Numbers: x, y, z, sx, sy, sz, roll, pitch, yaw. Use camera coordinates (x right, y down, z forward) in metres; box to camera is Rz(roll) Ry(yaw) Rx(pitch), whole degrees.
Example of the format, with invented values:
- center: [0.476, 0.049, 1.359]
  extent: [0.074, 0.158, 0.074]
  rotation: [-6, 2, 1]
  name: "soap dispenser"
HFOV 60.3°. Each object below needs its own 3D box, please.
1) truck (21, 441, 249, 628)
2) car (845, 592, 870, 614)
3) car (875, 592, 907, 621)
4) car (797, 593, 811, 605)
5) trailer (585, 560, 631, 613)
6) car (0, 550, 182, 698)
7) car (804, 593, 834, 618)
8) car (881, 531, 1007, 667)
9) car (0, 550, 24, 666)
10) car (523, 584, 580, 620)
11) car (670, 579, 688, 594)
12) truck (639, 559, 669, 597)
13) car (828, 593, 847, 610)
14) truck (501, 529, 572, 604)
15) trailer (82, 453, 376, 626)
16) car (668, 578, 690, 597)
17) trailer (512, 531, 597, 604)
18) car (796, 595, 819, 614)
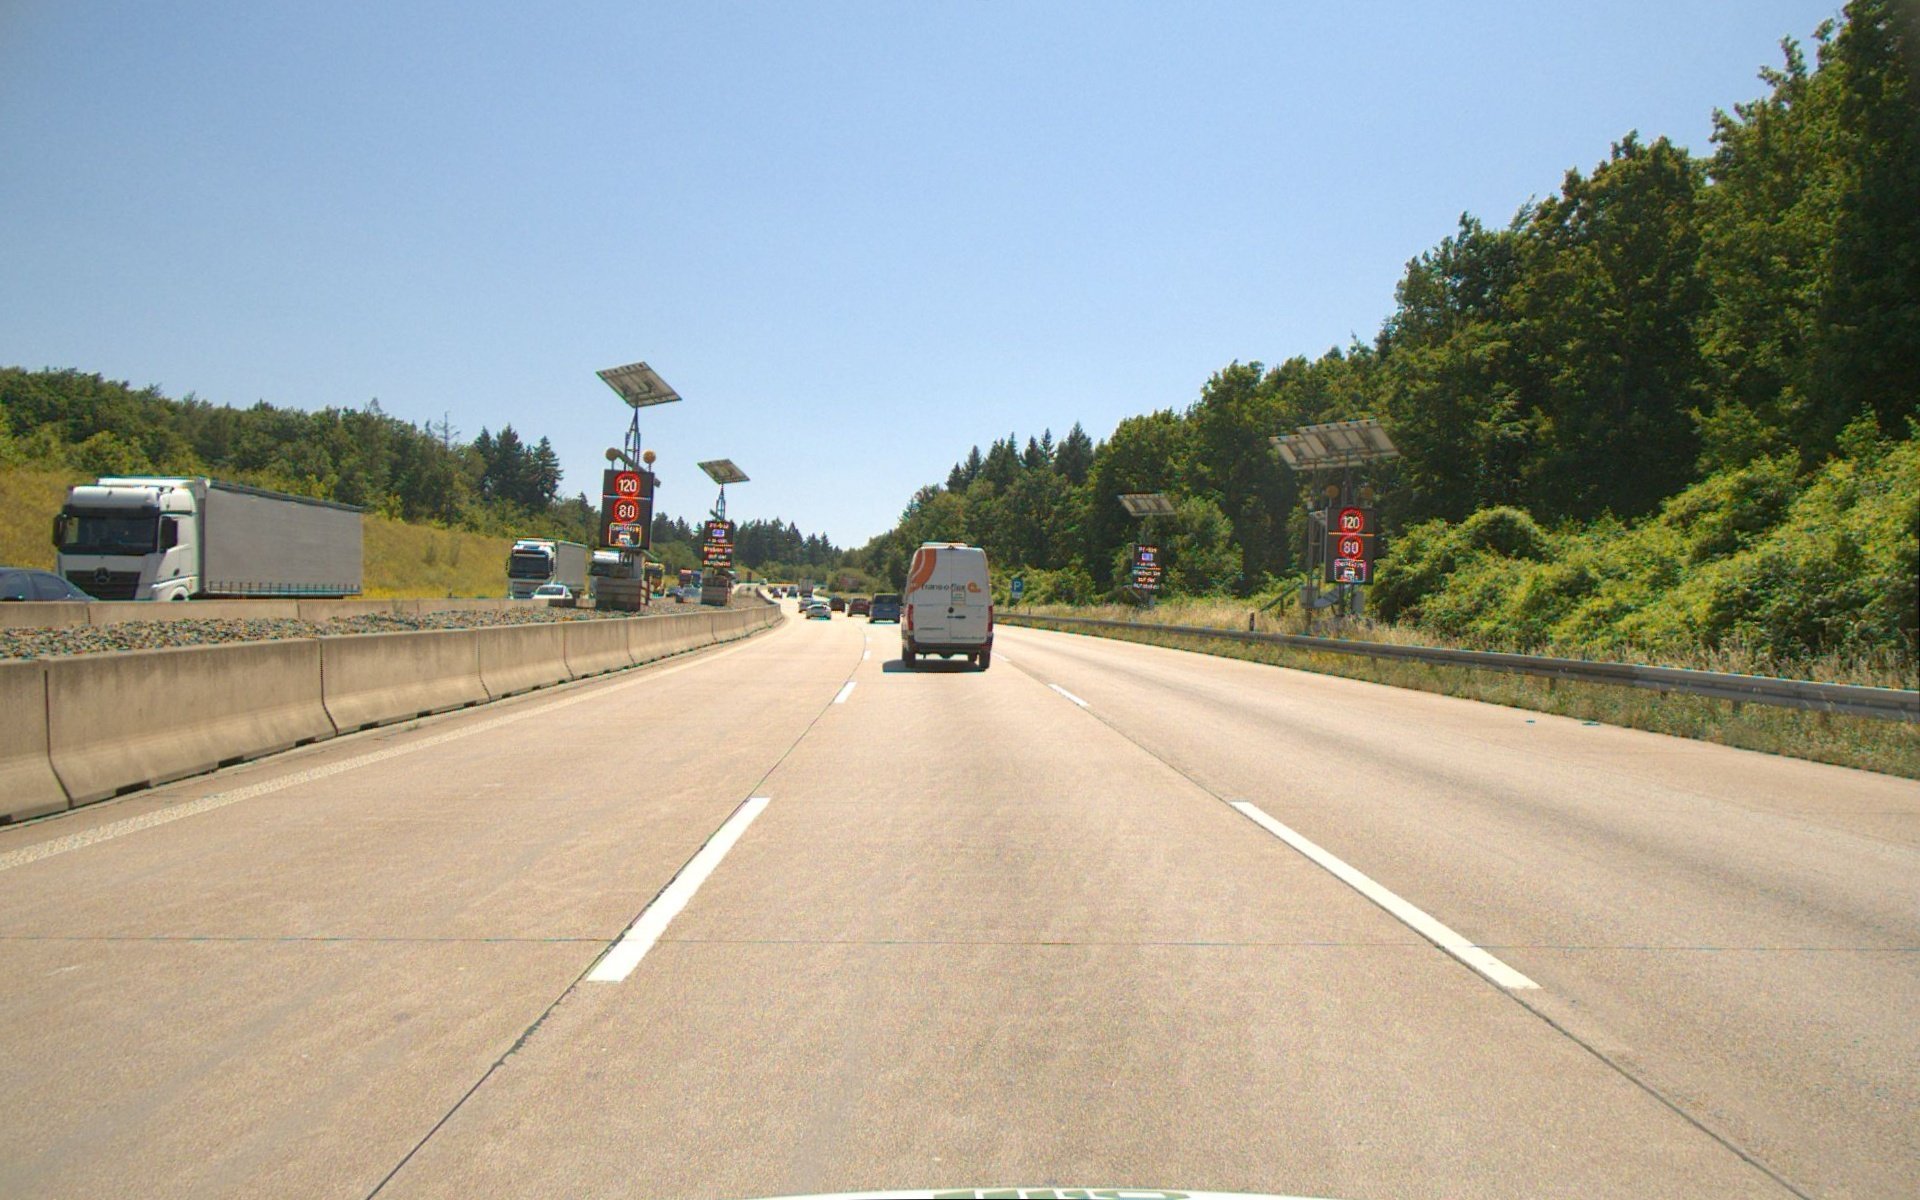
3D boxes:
- center: [-20.633, -1.528, 41.770]
  extent: [2.875, 4.241, 5.756]
  rotation: [3, 0, -3]
  name: "truck"
- center: [-8.772, 0.247, 141.592]
  extent: [1.954, 1.713, 3.997]
  rotation: [3, 0, -4]
  name: "car"
- center: [-4.506, 0.434, 107.367]
  extent: [1.954, 1.713, 3.997]
  rotation: [3, 0, -4]
  name: "car"
- center: [-24.378, -0.145, 257.772]
  extent: [1.954, 1.713, 3.997]
  rotation: [3, 0, -4]
  name: "car"
- center: [-29.704, -1.122, 139.717]
  extent: [2.877, 4.241, 6.882]
  rotation: [3, 0, -6]
  name: "trailer"
- center: [-12.994, 0.306, 23.600]
  extent: [1.953, 1.937, 4.037]
  rotation: [0, 0, -2]
  name: "car"
- center: [-10.308, 0.387, 120.982]
  extent: [1.954, 1.713, 3.997]
  rotation: [3, 0, -4]
  name: "car"
- center: [-0.466, -0.048, 38.390]
  extent: [2.185, 2.894, 5.444]
  rotation: [1, 1, -8]
  name: "car"
- center: [-15.839, 0.121, 24.296]
  extent: [1.953, 1.803, 3.999]
  rotation: [0, 0, -2]
  name: "car"
- center: [-19.913, 0.080, 80.736]
  extent: [1.954, 1.713, 3.998]
  rotation: [0, 0, -3]
  name: "car"
- center: [-41.696, -2.000, 245.707]
  extent: [2.239, 2.049, 4.798]
  rotation: [1, 0, -5]
  name: "car"
- center: [-38.149, -2.696, 206.618]
  extent: [2.858, 4.592, 11.243]
  rotation: [1, 0, -6]
  name: "truck"
- center: [-13.212, 0.202, 178.254]
  extent: [1.954, 1.713, 3.997]
  rotation: [3, 0, -4]
  name: "car"
- center: [-25.483, -1.951, 99.798]
  extent: [2.876, 4.241, 6.223]
  rotation: [3, 0, -5]
  name: "truck"
- center: [-21.053, -1.514, 49.109]
  extent: [2.875, 4.241, 14.378]
  rotation: [3, 0, -3]
  name: "trailer"
- center: [-29.785, -1.323, 175.193]
  extent: [1.955, 2.049, 3.996]
  rotation: [1, 0, -5]
  name: "car"
- center: [-26.063, -1.938, 107.082]
  extent: [2.876, 4.241, 14.374]
  rotation: [3, 0, -5]
  name: "trailer"
- center: [-14.673, 0.465, 159.504]
  extent: [1.954, 1.713, 3.997]
  rotation: [3, 0, -4]
  name: "car"
